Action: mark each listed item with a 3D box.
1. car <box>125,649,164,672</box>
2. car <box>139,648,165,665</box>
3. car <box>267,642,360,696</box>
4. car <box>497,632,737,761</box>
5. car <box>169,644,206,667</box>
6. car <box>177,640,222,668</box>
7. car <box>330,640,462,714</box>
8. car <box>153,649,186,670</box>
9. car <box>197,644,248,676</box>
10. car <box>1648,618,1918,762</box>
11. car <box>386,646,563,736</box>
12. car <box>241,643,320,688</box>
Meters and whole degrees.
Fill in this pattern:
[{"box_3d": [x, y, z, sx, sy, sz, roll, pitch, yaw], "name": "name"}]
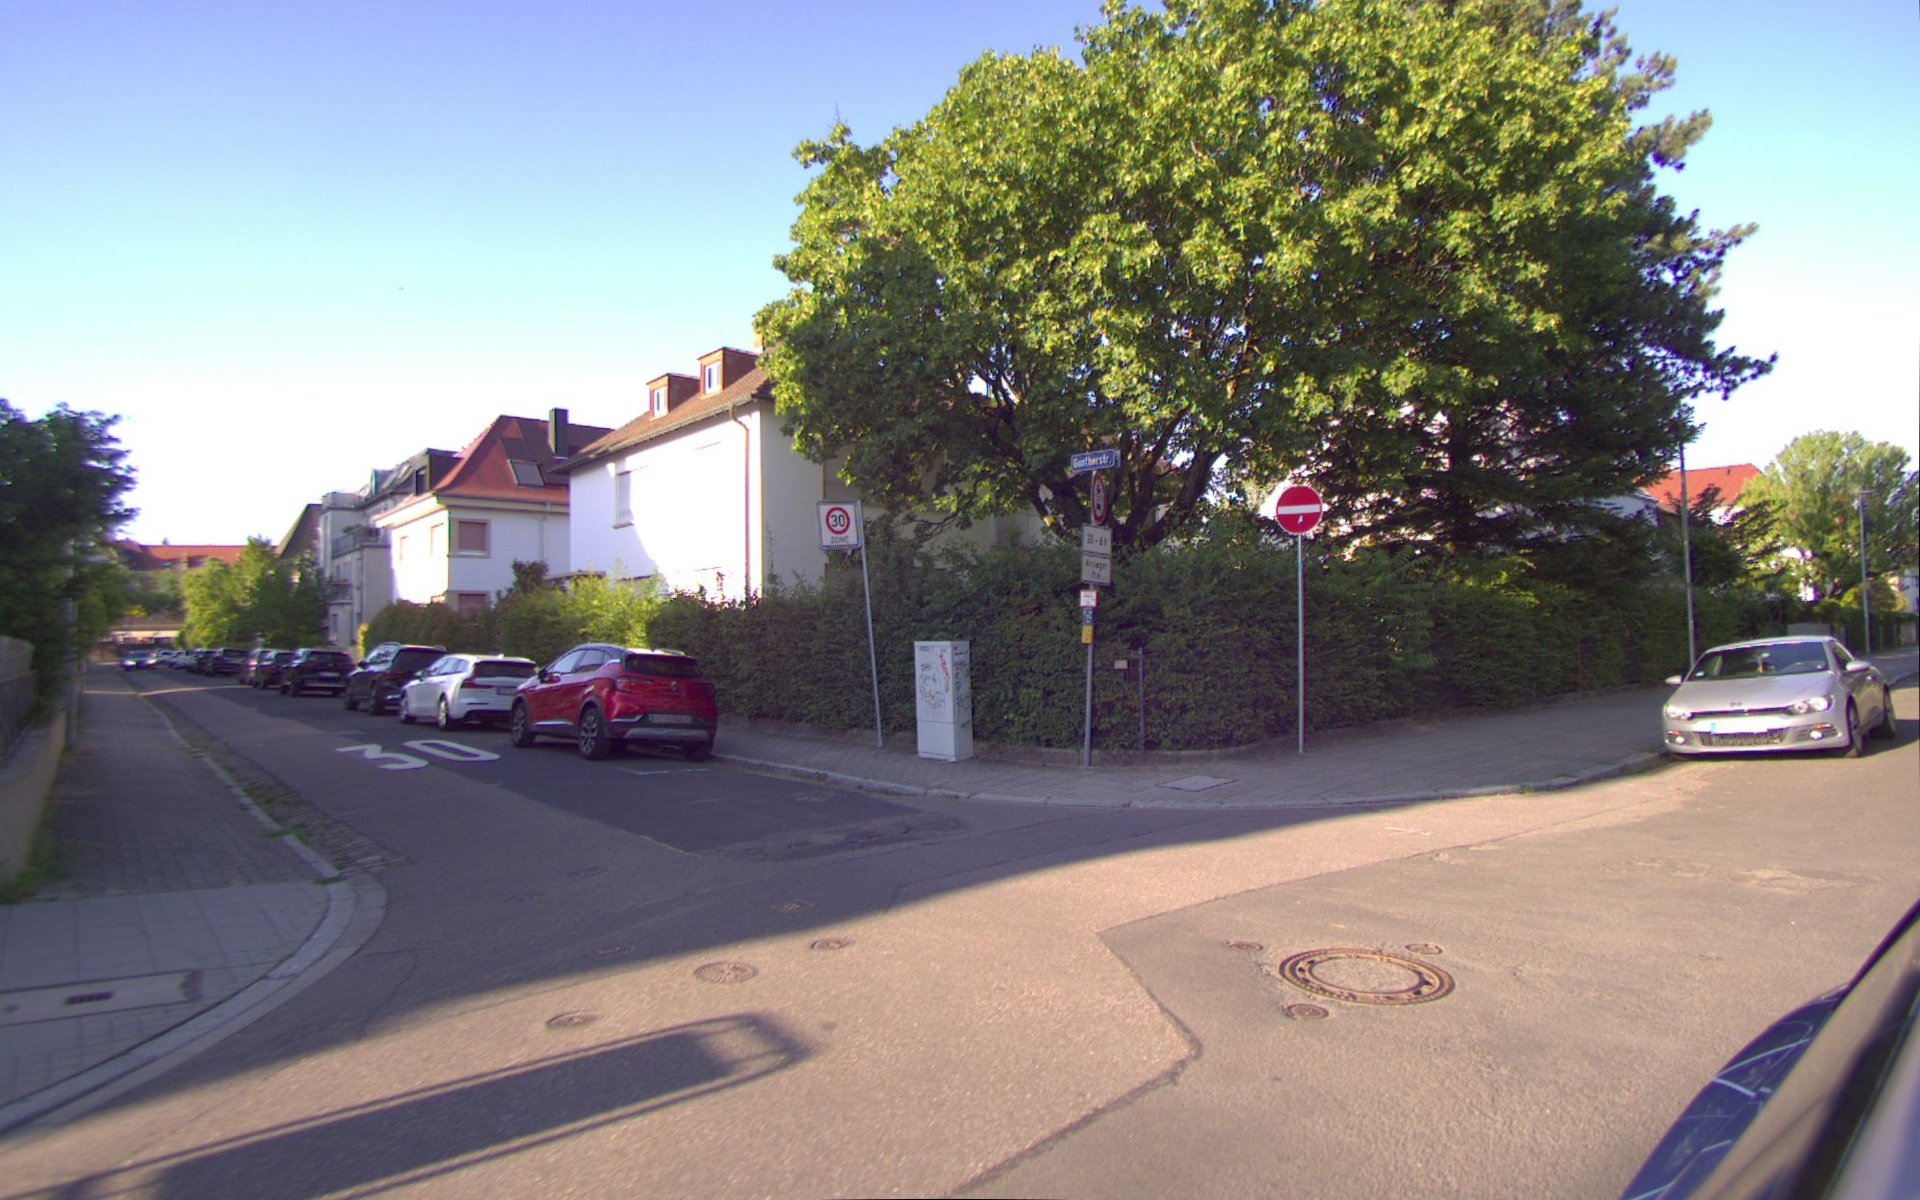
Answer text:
[{"box_3d": [-60.768, 4.492, 75.376, 1.966, 1.639, 3.990, 1, -3, -43], "name": "car"}, {"box_3d": [-77.917, 5.430, 97.576, 1.750, 1.646, 4.249, 1, -3, -42], "name": "car"}, {"box_3d": [-21.266, 2.264, 33.249, 1.750, 1.646, 4.248, 6, -6, -43], "name": "car"}, {"box_3d": [-5.120, 1.376, 14.867, 1.815, 1.631, 3.845, 8, -8, -43], "name": "car"}, {"box_3d": [-58.921, 4.207, 77.162, 1.751, 1.646, 4.248, 1, -3, -43], "name": "car"}, {"box_3d": [-47.212, 3.347, 62.821, 1.751, 1.646, 4.248, 1, -3, -43], "name": "car"}, {"box_3d": [-13.870, 1.867, 24.785, 1.750, 1.646, 4.248, 6, -6, -43], "name": "car"}, {"box_3d": [-65.478, 4.882, 83.820, 1.751, 1.646, 4.248, 1, -3, -43], "name": "car"}, {"box_3d": [-41.314, 3.333, 56.660, 1.751, 1.646, 4.248, 1, -3, -43], "name": "car"}, {"box_3d": [10.341, 1.070, 12.620, 4.000, 1.439, 1.758, 0, -9, -41], "name": "car"}, {"box_3d": [-9.633, 1.755, 19.932, 1.839, 1.546, 4.248, 8, -8, -43], "name": "car"}, {"box_3d": [-26.119, 2.492, 38.841, 1.750, 1.646, 4.248, 5, -5, -43], "name": "car"}]
